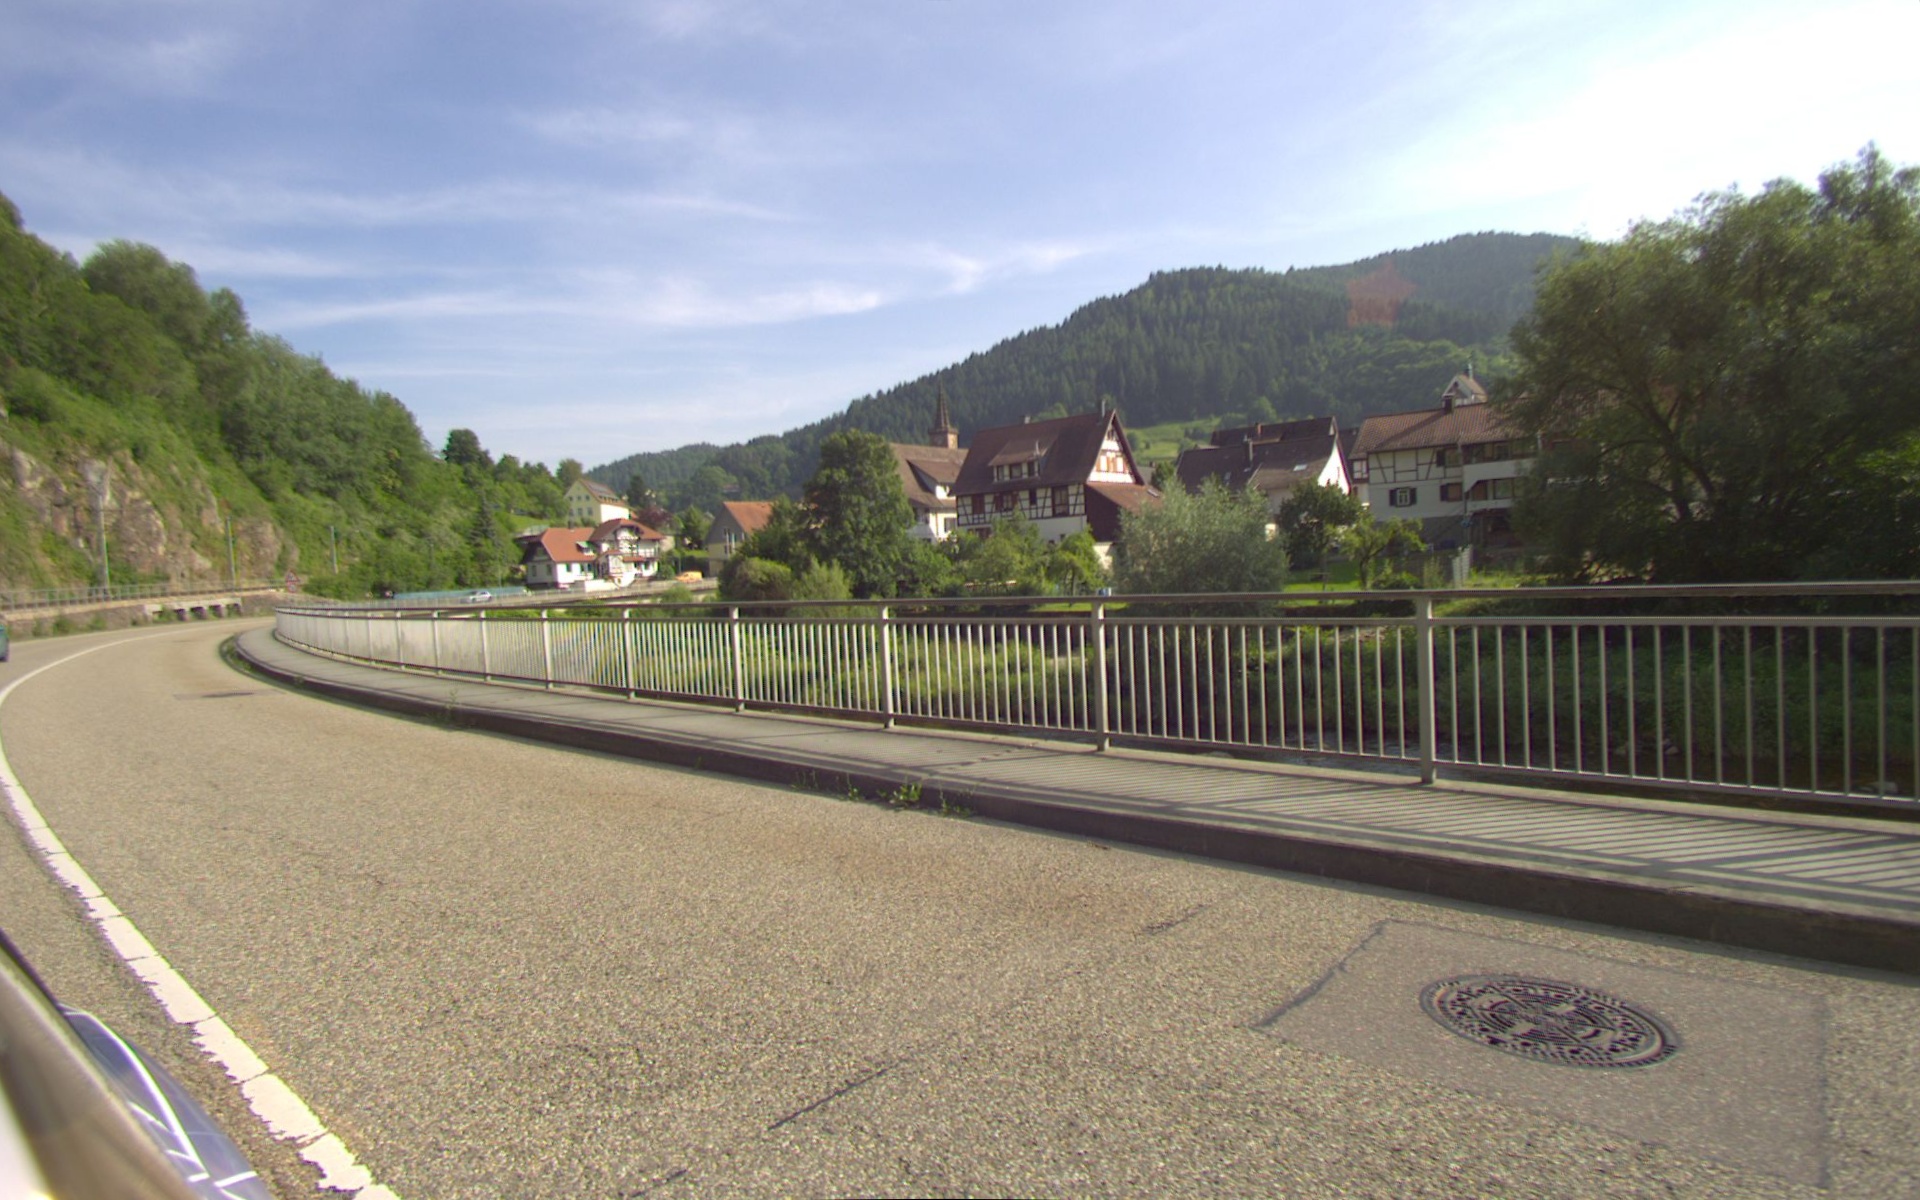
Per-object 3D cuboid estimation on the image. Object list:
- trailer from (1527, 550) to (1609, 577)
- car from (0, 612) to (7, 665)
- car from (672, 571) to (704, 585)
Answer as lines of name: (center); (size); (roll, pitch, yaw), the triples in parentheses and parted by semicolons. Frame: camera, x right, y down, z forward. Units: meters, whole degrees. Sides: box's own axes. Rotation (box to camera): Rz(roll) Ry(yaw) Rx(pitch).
trailer: (33.205, -1.960, 55.370); (3.681, 1.320, 1.880); (-1, 0, 27)
car: (-28.056, 1.138, 28.303); (1.657, 1.533, 3.873); (-3, 1, -38)
car: (-44.624, -3.602, 166.049); (1.912, 2.013, 4.773); (0, -1, 38)
